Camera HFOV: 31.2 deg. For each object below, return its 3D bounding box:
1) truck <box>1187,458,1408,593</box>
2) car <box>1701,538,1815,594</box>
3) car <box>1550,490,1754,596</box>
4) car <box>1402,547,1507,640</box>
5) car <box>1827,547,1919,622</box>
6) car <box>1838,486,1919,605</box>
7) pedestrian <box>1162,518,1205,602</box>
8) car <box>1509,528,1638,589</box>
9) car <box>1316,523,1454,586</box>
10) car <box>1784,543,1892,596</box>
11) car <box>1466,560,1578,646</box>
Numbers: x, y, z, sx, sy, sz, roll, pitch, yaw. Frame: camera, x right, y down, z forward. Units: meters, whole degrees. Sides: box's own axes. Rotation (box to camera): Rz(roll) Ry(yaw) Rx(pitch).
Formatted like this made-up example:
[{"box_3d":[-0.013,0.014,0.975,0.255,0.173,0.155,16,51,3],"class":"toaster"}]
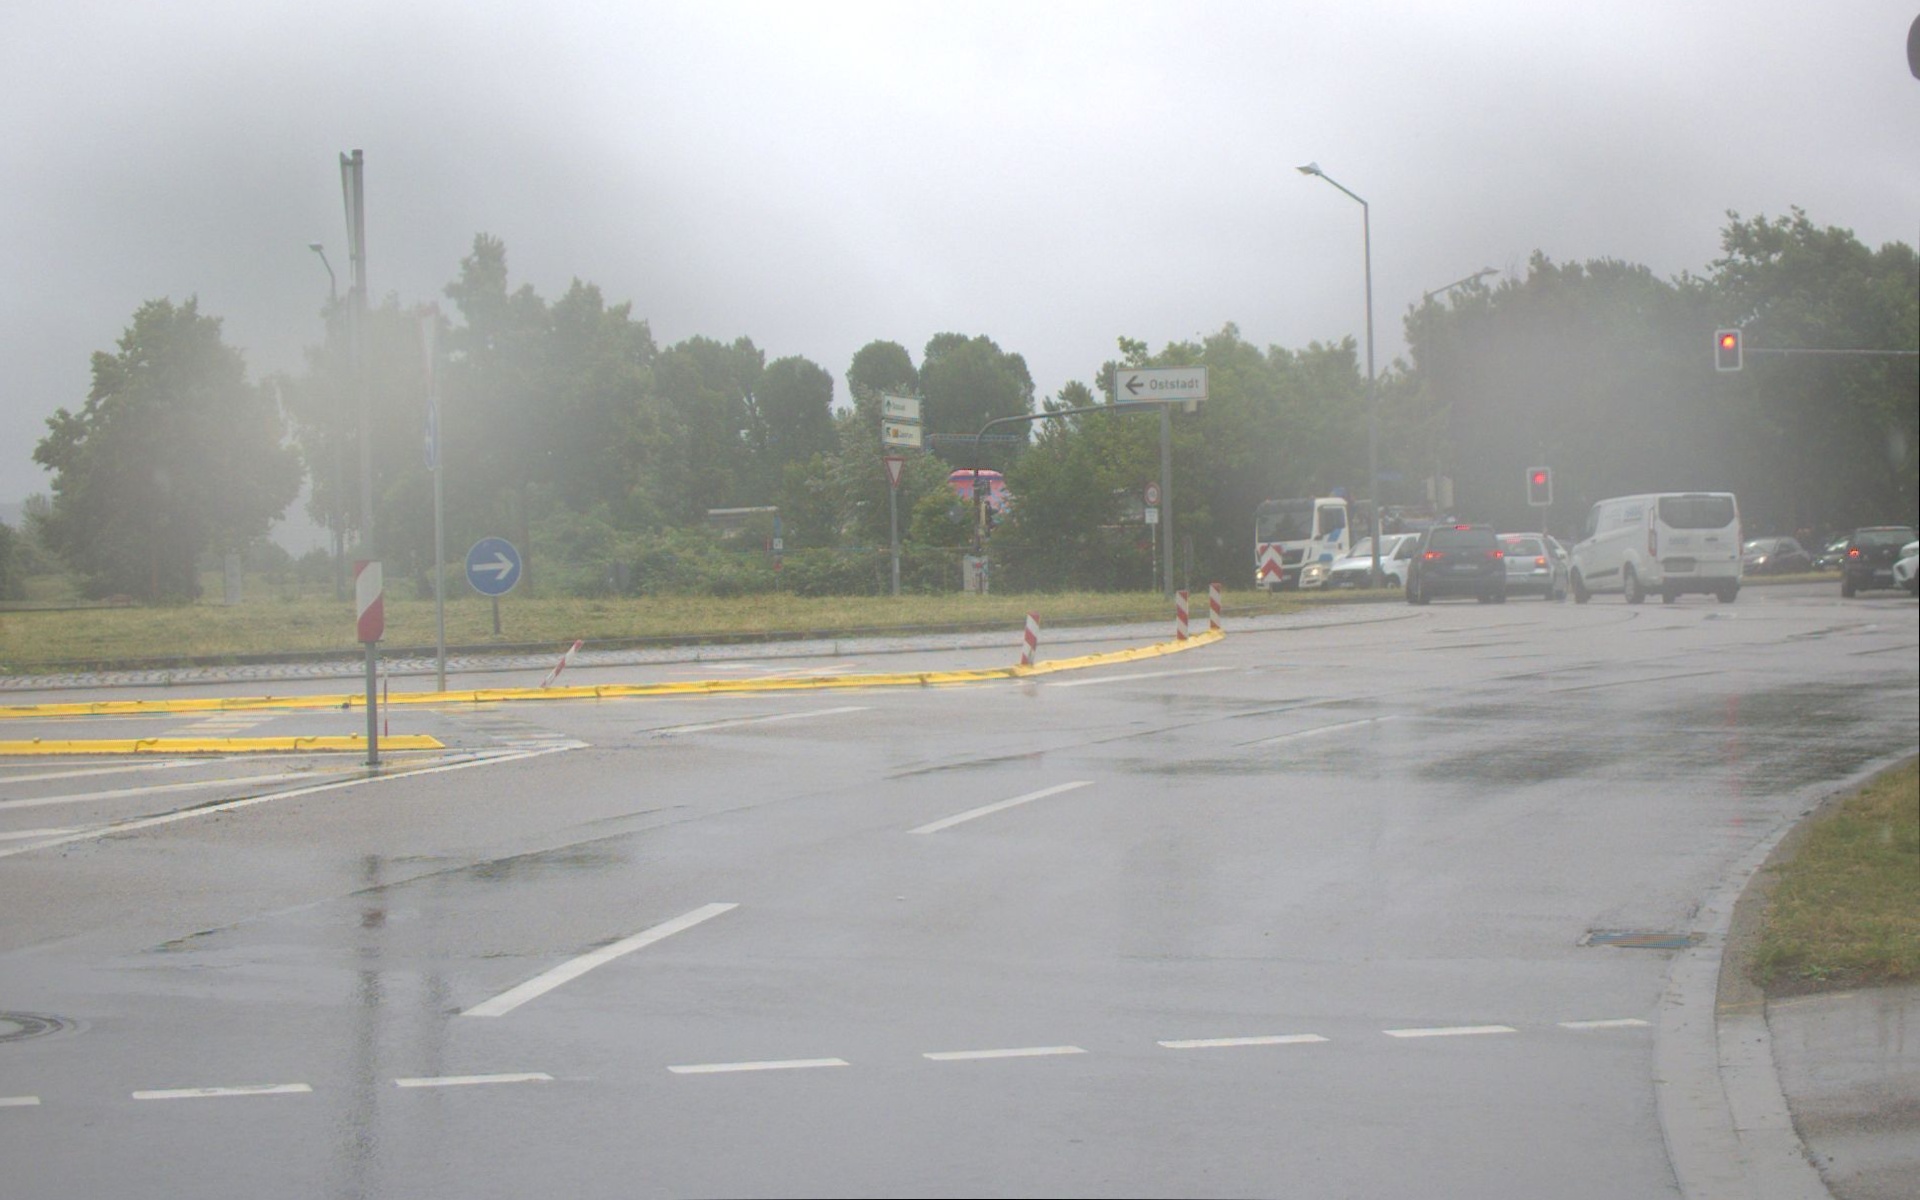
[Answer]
[{"box_3d":[7.361,-1.536,73.959,2.464,2.677,8.049,1,0,23],"class":"truck"},{"box_3d":[24.932,-1.057,107.345,1.800,1.656,3.990,1,0,41],"class":"car"},{"box_3d":[12.678,-1.028,63.308,1.993,1.845,4.777,1,0,-11],"class":"car"},{"box_3d":[10.298,-0.129,71.421,1.994,1.845,4.774,1,0,10],"class":"car"},{"box_3d":[18.863,-0.336,71.136,1.619,1.449,3.986,-1,1,12],"class":"car"},{"box_3d":[16.425,-0.904,54.203,4.765,1.845,1.998,-1,1,22],"class":"car"},{"box_3d":[3.532,-0.632,54.338,0.453,1.300,0.485,-1,1,38],"class":"pedestrian"},{"box_3d":[17.445,-1.168,97.658,1.800,1.656,3.990,1,0,41],"class":"car"},{"box_3d":[11.864,-1.256,95.860,1.800,1.656,4.124,1,0,41],"class":"car"},{"box_3d":[28.756,-1.000,112.557,1.800,1.656,3.990,1,0,41],"class":"car"},{"box_3d":[12.640,0.063,77.163,1.995,1.845,4.772,1,0,15],"class":"car"}]
